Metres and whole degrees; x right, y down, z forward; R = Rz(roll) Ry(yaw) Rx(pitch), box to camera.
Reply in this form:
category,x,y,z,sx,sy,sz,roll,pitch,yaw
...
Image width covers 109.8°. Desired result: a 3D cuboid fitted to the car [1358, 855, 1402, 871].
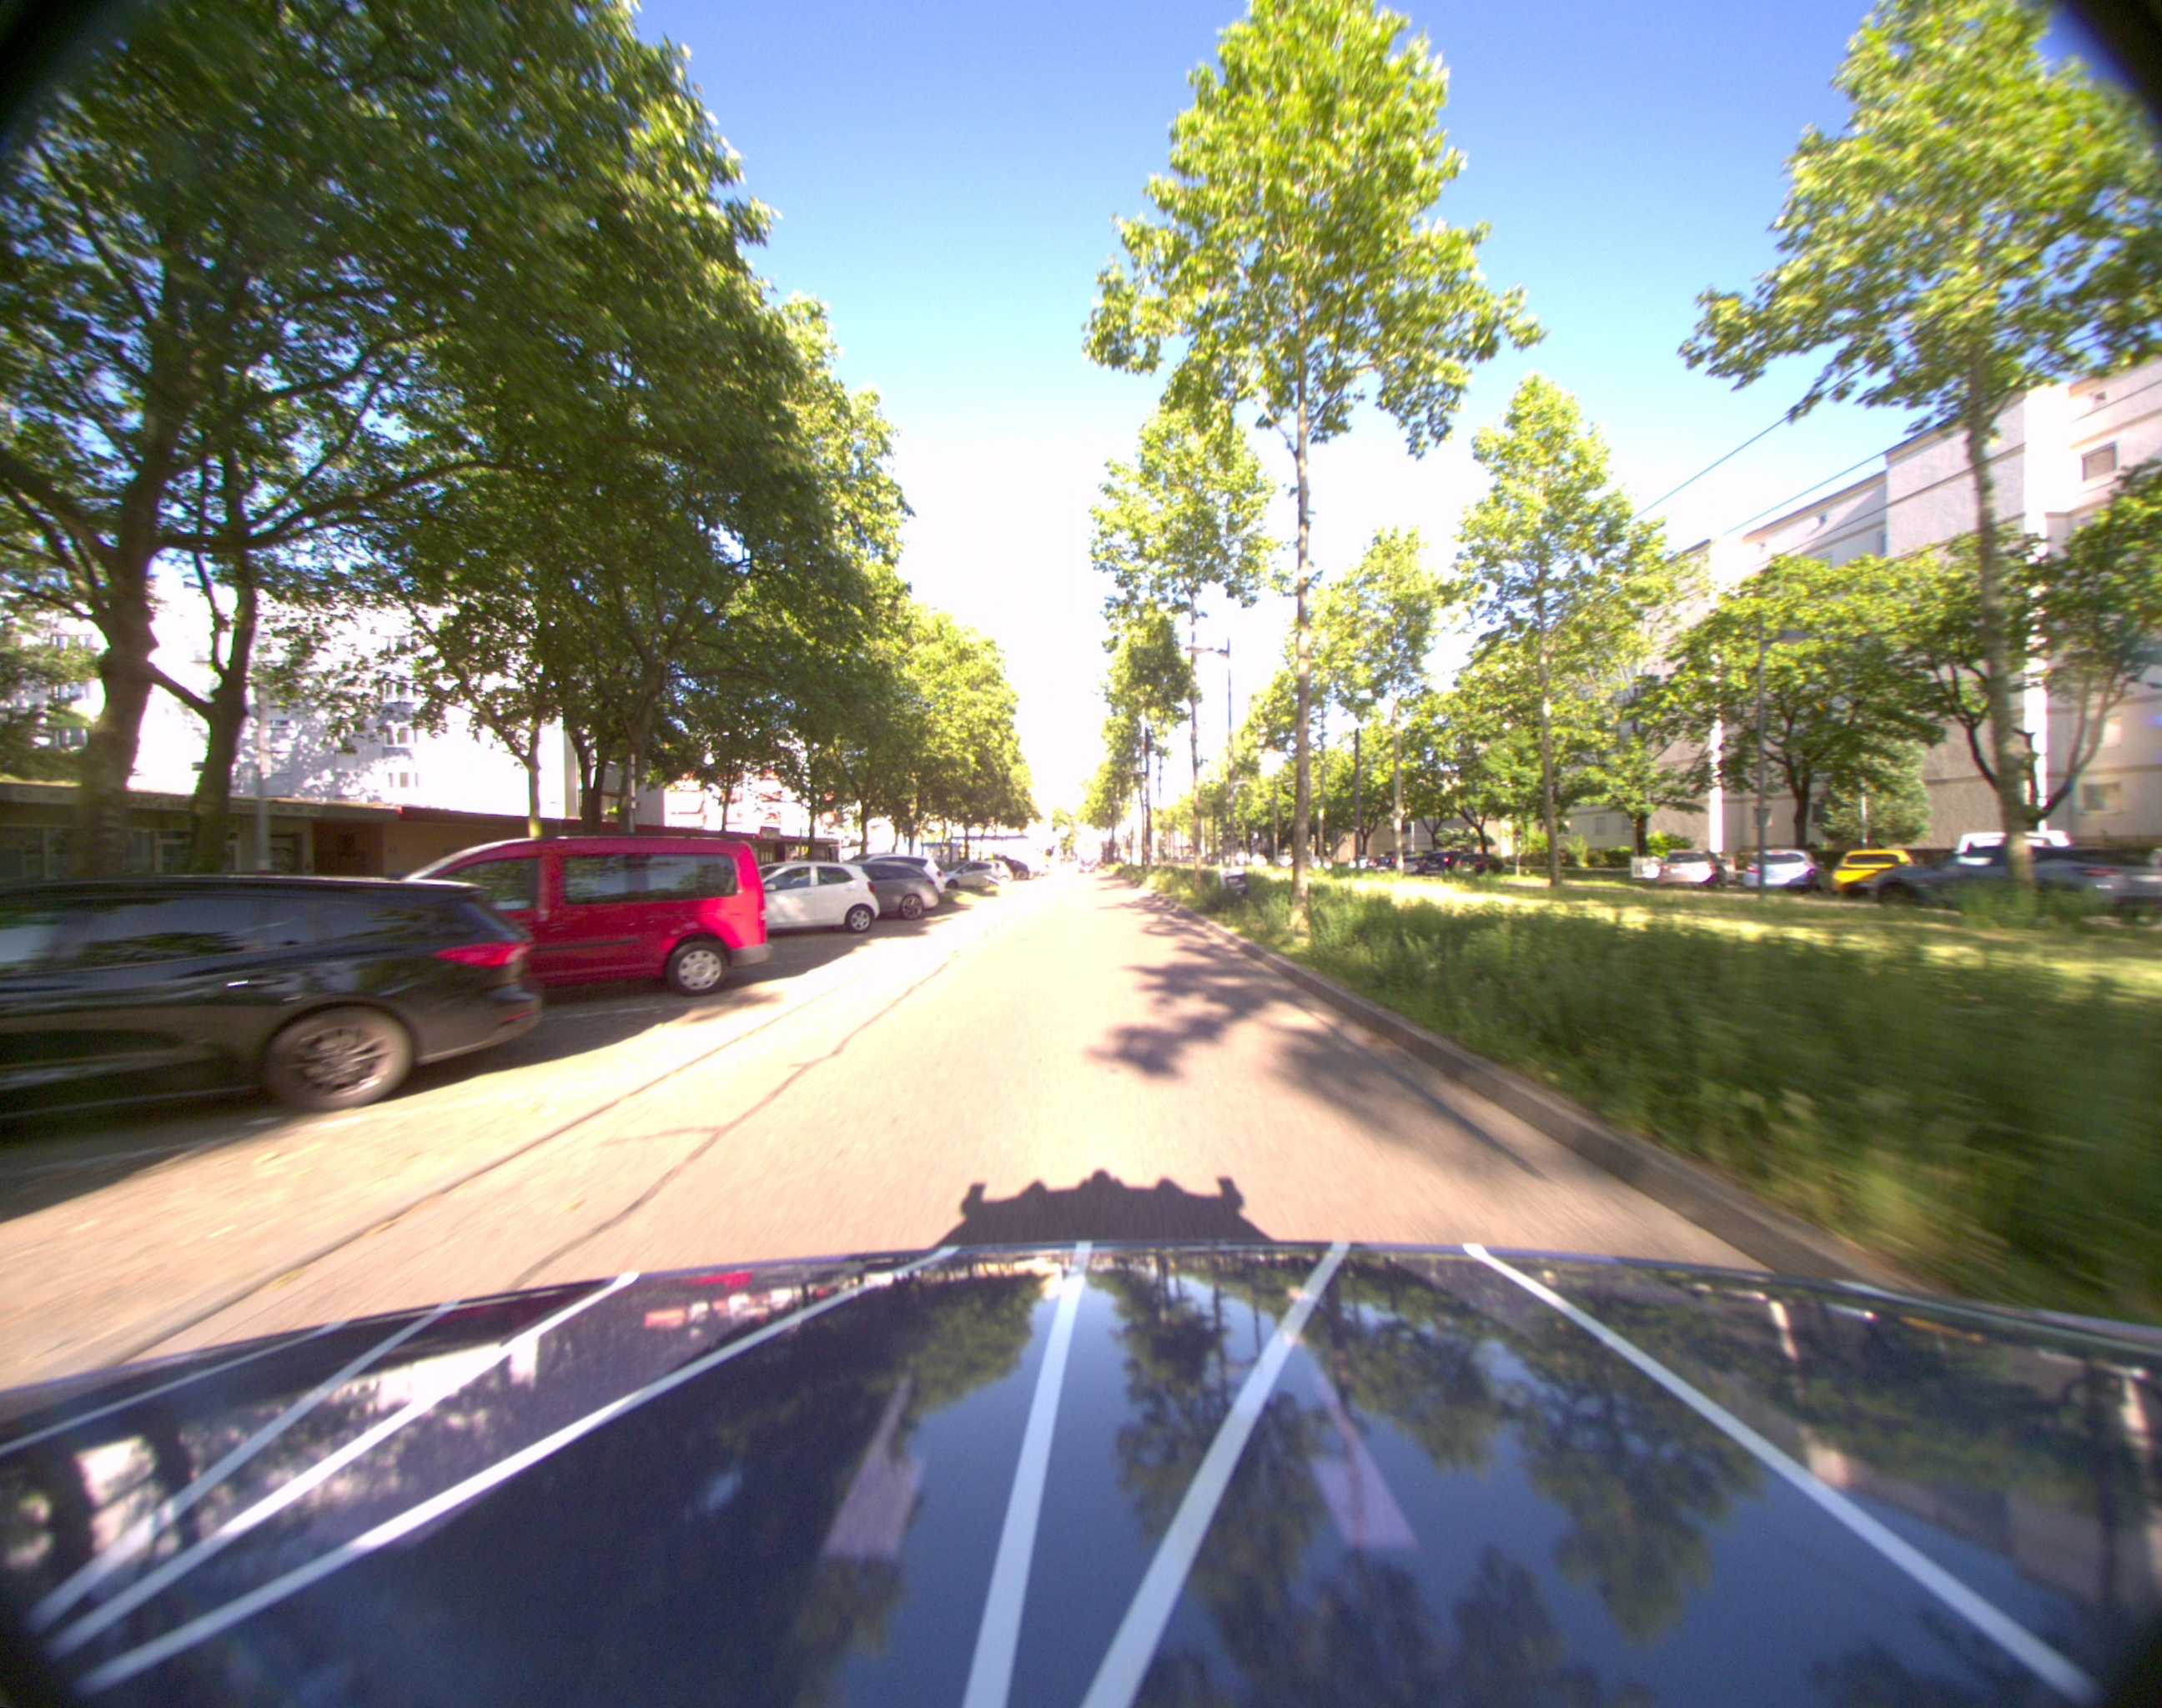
category,x,y,z,sx,sy,sz,roll,pitch,yaw
car,24.600,0.753,62.473,3.833,1.239,1.835,0,0,-41

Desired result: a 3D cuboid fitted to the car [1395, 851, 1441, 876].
category,x,y,z,sx,sy,sz,roll,pitch,yaw
car,24.075,0.637,54.244,1.646,1.637,4.093,2,2,44

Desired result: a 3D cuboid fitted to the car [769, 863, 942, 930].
category,x,y,z,sx,sy,sz,roll,pitch,yaw
car,-5.539,0.980,18.941,3.795,1.462,1.646,0,0,-43

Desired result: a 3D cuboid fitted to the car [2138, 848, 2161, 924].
category,x,y,z,sx,sy,sz,roll,pitch,yaw
car,24.620,0.648,16.598,4.091,1.424,1.576,-3,0,-33

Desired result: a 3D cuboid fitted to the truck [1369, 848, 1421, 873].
category,x,y,z,sx,sy,sz,roll,pitch,yaw
truck,23.932,0.466,57.856,4.092,1.766,1.646,-1,4,-35

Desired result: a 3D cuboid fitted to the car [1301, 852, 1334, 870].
category,x,y,z,sx,sy,sz,roll,pitch,yaw
car,20.122,0.558,64.737,1.650,1.477,3.849,0,1,0

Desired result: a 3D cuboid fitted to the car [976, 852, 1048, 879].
category,x,y,z,sx,sy,sz,roll,pitch,yaw
car,-4.486,0.745,49.796,4.512,1.695,1.756,0,0,-40

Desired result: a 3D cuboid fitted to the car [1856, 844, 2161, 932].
category,x,y,z,sx,sy,sz,roll,pitch,yaw
car,18.630,0.599,15.247,1.928,1.497,4.085,2,0,0

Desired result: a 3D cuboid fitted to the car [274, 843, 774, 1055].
category,x,y,z,sx,sy,sz,roll,pitch,yaw
car,-5.758,0.807,8.370,4.093,1.800,1.646,0,0,-39

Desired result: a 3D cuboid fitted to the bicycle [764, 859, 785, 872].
category,x,y,z,sx,sy,sz,roll,pitch,yaw
bicycle,-29.780,1.146,73.803,0.597,1.172,1.854,-2,0,28

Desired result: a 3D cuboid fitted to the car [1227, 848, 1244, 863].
category,x,y,z,sx,sy,sz,roll,pitch,yaw
car,23.298,0.283,114.745,1.718,2.249,3.933,-1,0,0

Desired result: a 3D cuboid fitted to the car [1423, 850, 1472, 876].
category,x,y,z,sx,sy,sz,roll,pitch,yaw
car,24.615,0.582,50.927,4.094,1.636,1.647,0,-3,-45

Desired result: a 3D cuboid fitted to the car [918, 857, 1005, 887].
category,x,y,z,sx,sy,sz,roll,pitch,yaw
car,-5.747,0.849,36.684,3.947,1.365,1.583,0,0,-44

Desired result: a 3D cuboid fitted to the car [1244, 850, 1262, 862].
category,x,y,z,sx,sy,sz,roll,pitch,yaw
car,23.379,0.242,103.249,1.718,1.537,3.934,-1,0,3

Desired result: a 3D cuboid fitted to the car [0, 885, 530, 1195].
category,x,y,z,sx,sy,sz,roll,pitch,yaw
car,-5.878,0.996,4.590,4.093,1.472,1.647,0,0,-35

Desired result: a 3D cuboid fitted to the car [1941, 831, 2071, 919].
category,x,y,z,sx,sy,sz,roll,pitch,yaw
car,23.658,0.472,19.386,4.807,1.994,1.888,-1,-1,-37

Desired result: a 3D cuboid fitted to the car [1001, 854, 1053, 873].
category,x,y,z,sx,sy,sz,roll,pitch,yaw
car,-4.570,0.783,64.097,4.005,1.461,1.756,2,0,-30

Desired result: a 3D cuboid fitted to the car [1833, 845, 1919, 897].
category,x,y,z,sx,sy,sz,roll,pitch,yaw
car,24.359,0.464,23.234,4.093,1.424,1.575,-1,2,-41

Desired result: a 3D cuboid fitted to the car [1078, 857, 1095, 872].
category,x,y,z,sx,sy,sz,roll,pitch,yaw
car,0.627,1.064,78.572,1.619,1.536,4.277,-1,0,2

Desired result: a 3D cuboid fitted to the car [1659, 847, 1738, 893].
category,x,y,z,sx,sy,sz,roll,pitch,yaw
car,23.945,0.584,29.431,4.093,1.636,1.647,-1,0,-41

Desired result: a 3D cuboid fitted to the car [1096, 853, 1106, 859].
category,x,y,z,sx,sy,sz,roll,pitch,yaw
car,5.426,0.499,205.729,1.545,1.522,3.597,-3,1,-20

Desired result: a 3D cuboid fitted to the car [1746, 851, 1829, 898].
category,x,y,z,sx,sy,sz,roll,pitch,yaw
car,24.456,0.651,26.251,4.093,1.474,1.647,-1,0,-41

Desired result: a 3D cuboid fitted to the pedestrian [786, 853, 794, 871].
category,x,y,z,sx,sy,sz,roll,pitch,yaw
pedestrian,-27.824,0.786,72.740,0.496,1.690,0.715,-1,0,-5

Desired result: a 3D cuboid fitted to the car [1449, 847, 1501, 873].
category,x,y,z,sx,sy,sz,roll,pitch,yaw
car,24.564,0.373,47.296,1.647,1.466,4.094,-6,-4,44

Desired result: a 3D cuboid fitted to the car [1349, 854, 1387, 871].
category,x,y,z,sx,sy,sz,roll,pitch,yaw
car,24.755,0.727,65.562,1.835,1.426,3.833,0,0,42

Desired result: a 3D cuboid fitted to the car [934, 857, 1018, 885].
category,x,y,z,sx,sy,sz,roll,pitch,yaw
car,-5.569,0.871,40.610,4.194,1.404,1.715,0,0,-43

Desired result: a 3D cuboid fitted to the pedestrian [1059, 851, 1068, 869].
category,x,y,z,sx,sy,sz,roll,pitch,yaw
pedestrian,-1.791,0.617,79.181,0.799,1.874,0.928,-1,0,5

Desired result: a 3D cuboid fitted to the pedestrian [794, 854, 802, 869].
category,x,y,z,sx,sy,sz,roll,pitch,yaw
pedestrian,-27.331,0.767,73.380,0.533,1.422,0.715,-1,0,-5

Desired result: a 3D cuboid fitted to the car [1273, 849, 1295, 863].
category,x,y,z,sx,sy,sz,roll,pitch,yaw
car,24.312,0.236,91.200,1.718,1.537,4.201,-1,0,2

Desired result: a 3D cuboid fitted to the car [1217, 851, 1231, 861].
category,x,y,z,sx,sy,sz,roll,pitch,yaw
car,23.715,0.274,126.516,1.598,1.626,3.930,-1,0,0

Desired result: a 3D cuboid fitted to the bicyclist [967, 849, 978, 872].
category,x,y,z,sx,sy,sz,roll,pitch,yaw
bicyclist,-8.433,0.494,59.125,0.624,1.730,1.023,-1,0,1

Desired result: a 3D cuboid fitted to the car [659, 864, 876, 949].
category,x,y,z,sx,sy,sz,roll,pitch,yaw
car,-6.138,0.942,15.121,1.646,1.440,3.635,1,0,45

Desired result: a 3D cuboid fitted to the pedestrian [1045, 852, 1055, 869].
category,x,y,z,sx,sy,sz,roll,pitch,yaw
pedestrian,-3.154,0.662,76.619,0.714,1.696,0.652,0,1,-34

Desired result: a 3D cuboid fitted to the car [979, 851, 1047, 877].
category,x,y,z,sx,sy,sz,roll,pitch,yaw
car,-4.900,0.711,55.003,4.680,1.842,1.825,0,0,-39

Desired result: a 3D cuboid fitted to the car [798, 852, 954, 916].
category,x,y,z,sx,sy,sz,roll,pitch,yaw
car,-5.944,0.804,22.268,4.036,1.695,1.756,0,0,-40

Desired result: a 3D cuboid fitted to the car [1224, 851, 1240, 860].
category,x,y,z,sx,sy,sz,roll,pitch,yaw
car,23.684,0.220,119.382,1.598,1.480,4.020,-1,0,0
